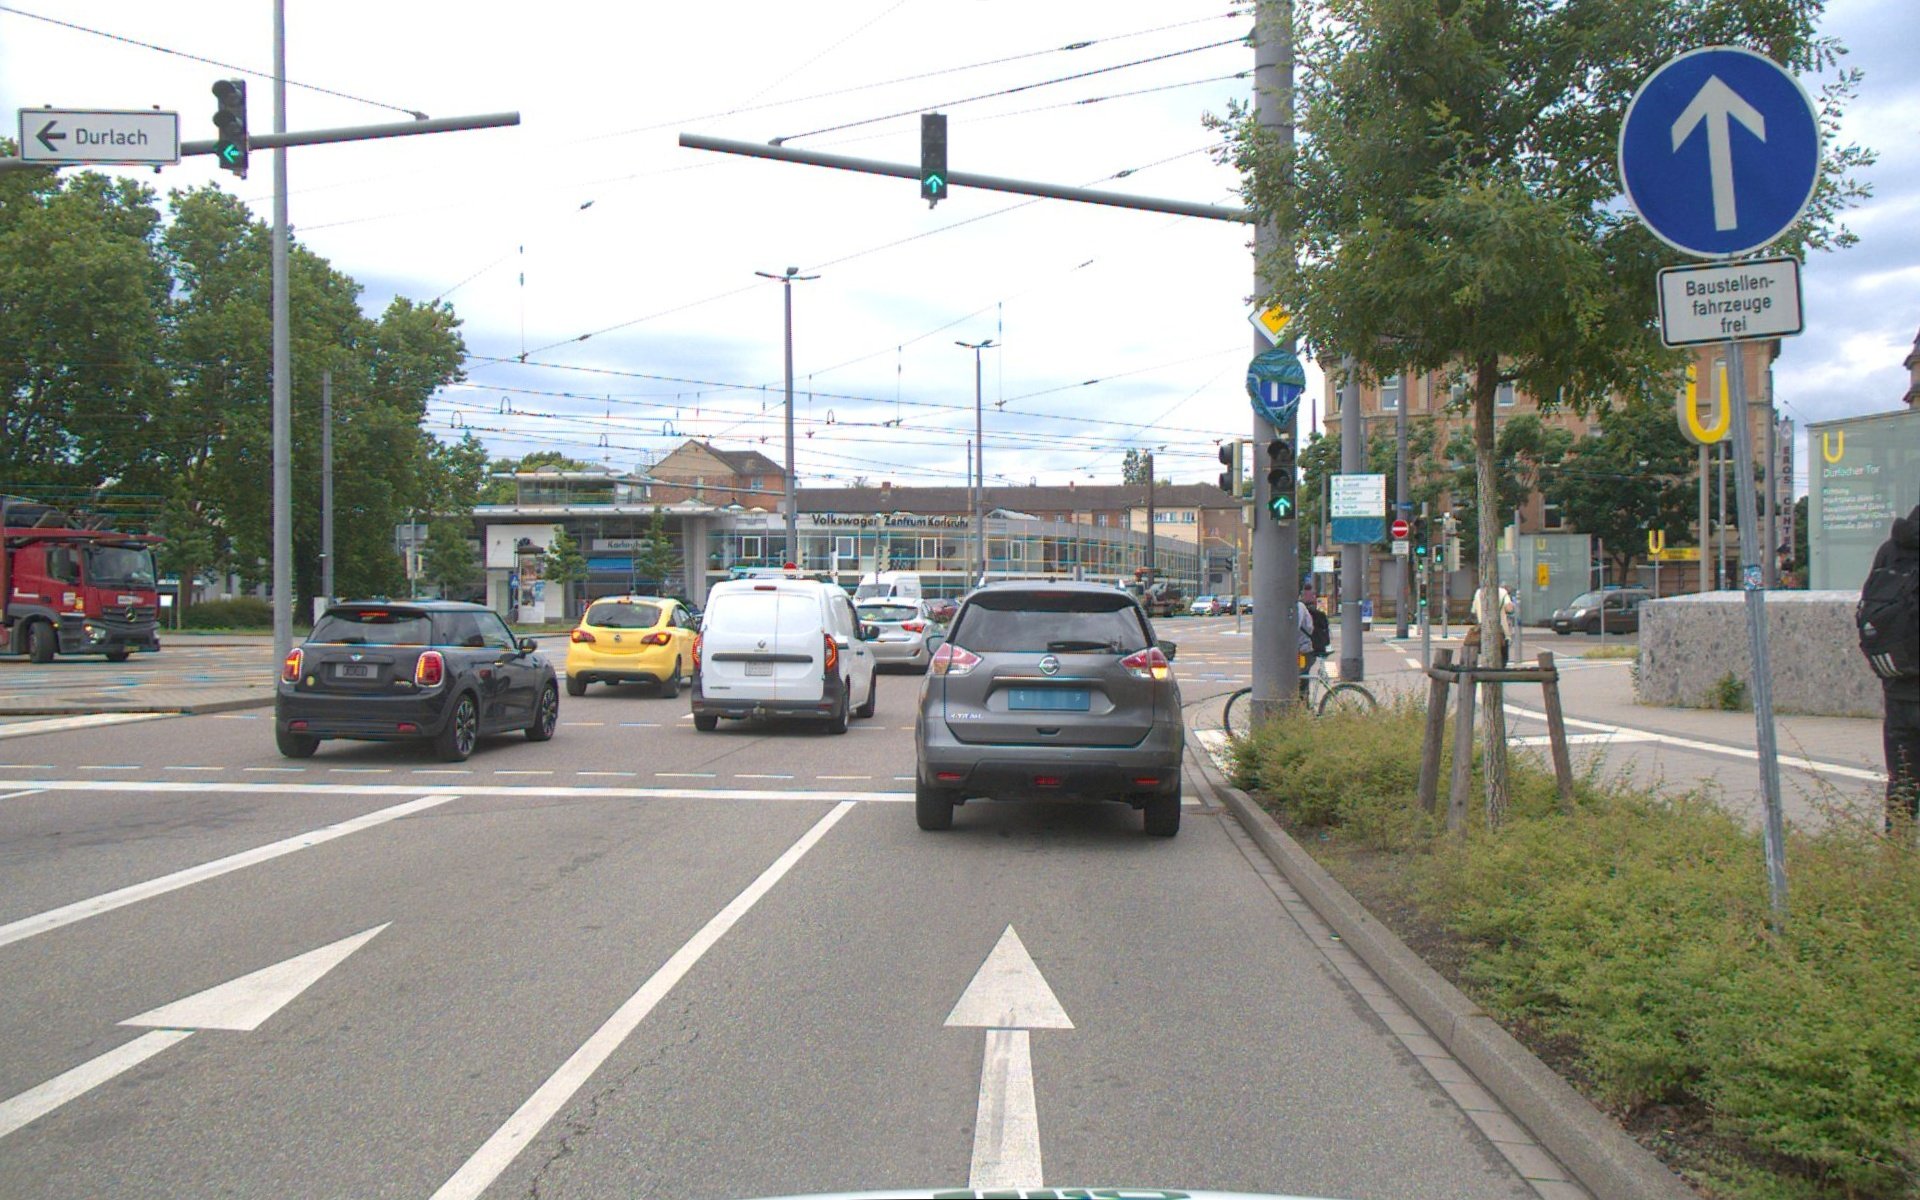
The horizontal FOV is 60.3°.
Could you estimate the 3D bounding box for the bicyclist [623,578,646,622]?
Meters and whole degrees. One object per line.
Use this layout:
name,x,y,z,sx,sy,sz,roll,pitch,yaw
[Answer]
bicyclist,-13.643,-0.017,69.366,0.614,1.835,0.797,0,0,21

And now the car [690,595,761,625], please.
car,-10.199,0.428,72.075,1.651,1.268,3.740,0,0,17

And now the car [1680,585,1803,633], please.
car,33.052,0.374,69.936,5.015,1.949,1.856,0,0,-23

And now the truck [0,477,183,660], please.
truck,-23.708,-0.790,38.613,10.199,3.988,3.018,1,0,11

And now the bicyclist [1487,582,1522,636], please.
bicyclist,16.237,0.269,49.317,0.679,1.587,0.923,-2,0,36

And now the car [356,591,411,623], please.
car,-38.592,0.446,110.766,1.951,2.049,4.003,1,0,6

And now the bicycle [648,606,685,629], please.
bicycle,-12.804,0.739,72.139,0.508,0.942,2.223,0,1,21

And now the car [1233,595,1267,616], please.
car,25.913,0.467,147.617,1.953,1.871,4.521,0,0,24

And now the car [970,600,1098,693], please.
car,1.326,0.722,27.954,1.951,1.445,4.003,0,0,6

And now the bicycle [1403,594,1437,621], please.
bicycle,24.226,0.420,87.046,0.940,1.378,3.114,1,0,30

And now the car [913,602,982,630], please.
car,-0.643,0.839,89.140,1.953,1.445,4.799,0,0,24

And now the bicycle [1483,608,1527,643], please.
bicycle,16.245,0.743,49.273,0.659,0.949,1.851,-3,-1,37

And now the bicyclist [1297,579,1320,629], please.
bicyclist,12.086,0.130,57.391,0.673,1.738,0.799,0,0,6

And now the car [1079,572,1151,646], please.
car,4.522,0.250,48.639,1.952,2.049,4.002,1,0,4

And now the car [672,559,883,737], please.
car,-2.136,0.522,20.504,1.872,1.974,4.133,0,0,4

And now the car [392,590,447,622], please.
car,-36.124,0.415,110.646,1.951,2.049,4.003,1,0,6

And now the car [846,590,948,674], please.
car,-1.196,0.600,32.967,1.815,1.534,4.000,1,0,0

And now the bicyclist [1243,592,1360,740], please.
bicyclist,3.639,0.688,17.675,1.075,1.547,0.760,0,0,-2

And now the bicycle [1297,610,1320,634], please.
bicycle,12.090,0.757,57.436,0.606,0.807,1.593,0,0,6

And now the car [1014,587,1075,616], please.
car,5.677,0.082,110.597,2.114,1.889,5.442,0,0,26

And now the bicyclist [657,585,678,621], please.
bicyclist,-12.767,0.134,72.191,0.554,1.534,0.857,0,1,21

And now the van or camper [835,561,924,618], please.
van or camper,-3.881,-0.489,81.325,2.364,2.656,6.054,1,0,17

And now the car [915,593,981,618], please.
car,-0.677,0.291,97.658,1.954,1.445,4.746,0,0,26

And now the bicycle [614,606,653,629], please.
bicycle,-13.708,0.722,69.518,0.508,0.946,2.223,0,1,21

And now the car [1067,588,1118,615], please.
car,9.454,0.069,117.436,1.956,1.871,4.515,0,0,29

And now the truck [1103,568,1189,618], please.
truck,14.147,-0.507,125.061,2.744,3.611,9.199,1,0,32

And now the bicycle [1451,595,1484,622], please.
bicycle,26.432,0.468,86.041,0.940,1.378,3.114,1,0,30

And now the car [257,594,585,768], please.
car,-5.121,0.695,16.310,1.732,1.494,4.002,0,0,3

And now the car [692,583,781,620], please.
car,-13.103,0.098,97.069,4.665,2.049,2.122,1,0,17

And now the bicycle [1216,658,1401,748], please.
bicycle,3.704,1.090,17.691,1.784,0.854,0.767,-2,0,-2

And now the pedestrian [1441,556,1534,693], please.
pedestrian,7.564,0.344,23.712,0.871,1.900,1.280,0,0,39

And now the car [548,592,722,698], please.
car,-5.065,0.660,26.306,1.780,1.520,4.001,1,0,3

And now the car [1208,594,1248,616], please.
car,22.801,0.398,140.579,1.956,1.871,4.515,0,0,29

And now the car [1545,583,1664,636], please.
car,24.329,0.351,62.413,4.314,1.933,1.682,0,0,-24

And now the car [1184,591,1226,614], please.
car,19.931,0.198,134.447,1.956,1.871,4.515,0,0,29

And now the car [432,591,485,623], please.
car,-33.371,0.477,110.175,1.951,2.049,4.003,1,0,6

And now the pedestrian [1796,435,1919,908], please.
pedestrian,4.249,0.295,7.244,0.862,1.962,0.716,0,0,-32

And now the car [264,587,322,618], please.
car,-44.886,0.166,111.426,1.951,2.049,4.003,1,0,6

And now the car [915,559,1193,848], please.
car,0.659,0.661,12.202,1.713,1.786,3.924,0,-1,2
